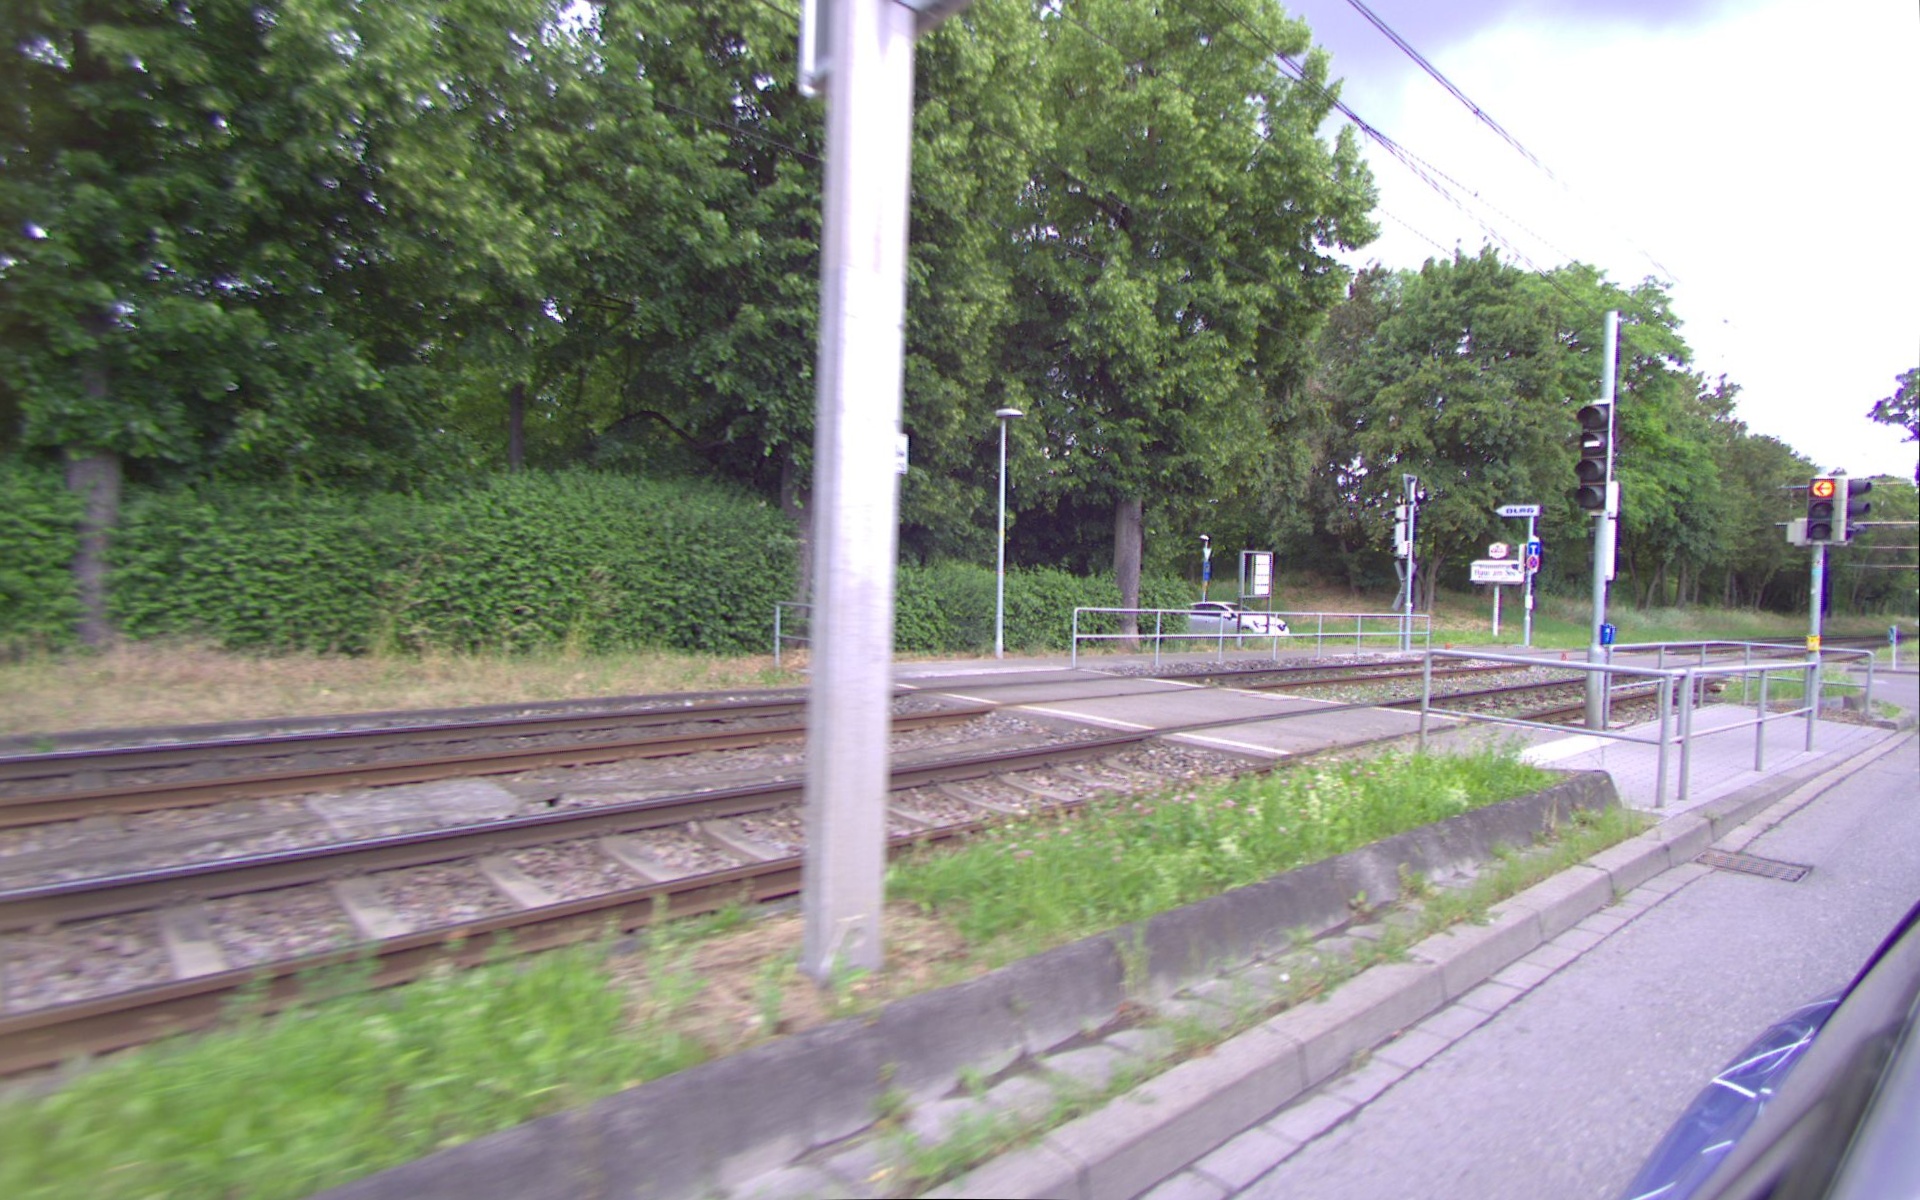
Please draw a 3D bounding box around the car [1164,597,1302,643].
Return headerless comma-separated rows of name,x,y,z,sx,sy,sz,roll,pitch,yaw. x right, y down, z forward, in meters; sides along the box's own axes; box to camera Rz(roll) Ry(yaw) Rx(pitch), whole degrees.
car,8.714,0.635,32.527,1.755,1.402,3.991,1,-1,-42
